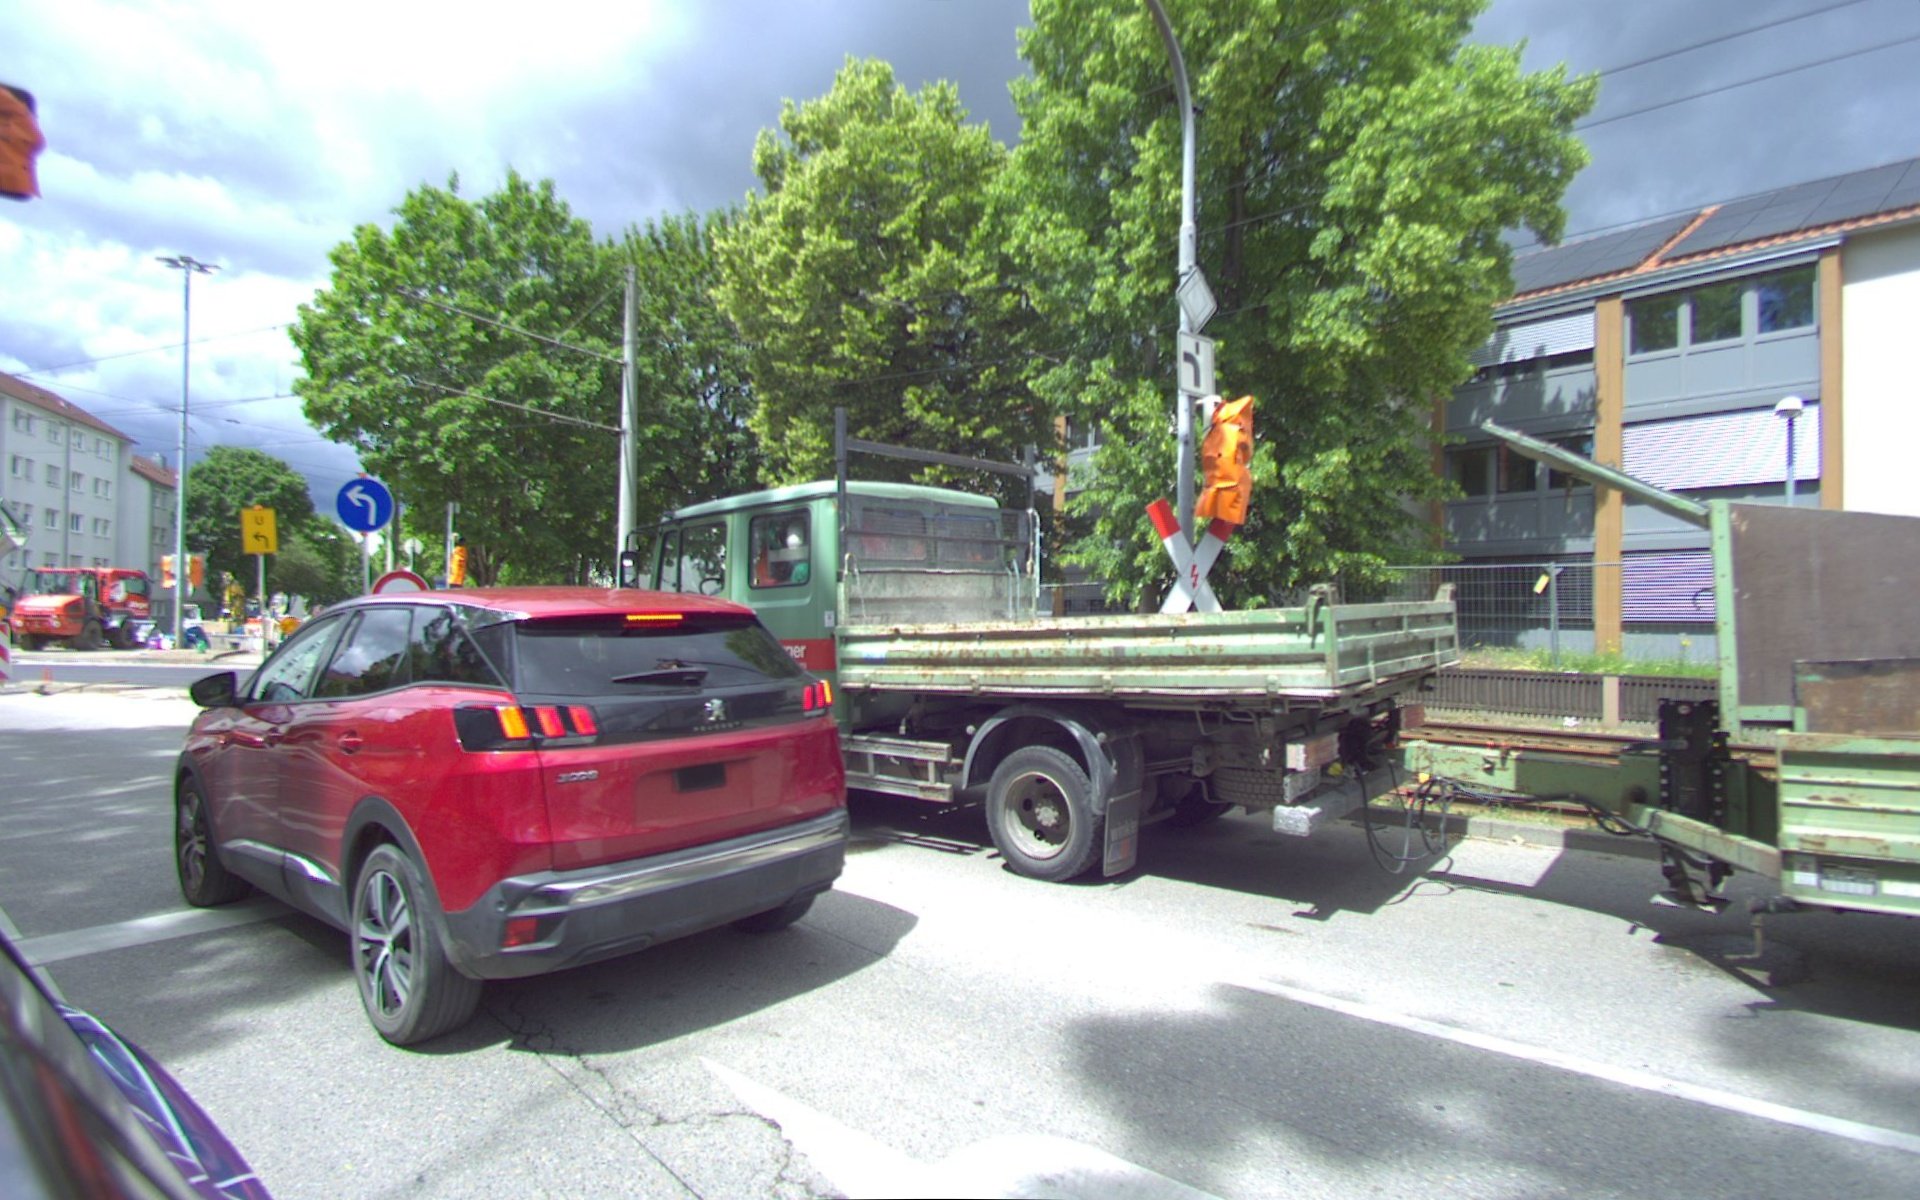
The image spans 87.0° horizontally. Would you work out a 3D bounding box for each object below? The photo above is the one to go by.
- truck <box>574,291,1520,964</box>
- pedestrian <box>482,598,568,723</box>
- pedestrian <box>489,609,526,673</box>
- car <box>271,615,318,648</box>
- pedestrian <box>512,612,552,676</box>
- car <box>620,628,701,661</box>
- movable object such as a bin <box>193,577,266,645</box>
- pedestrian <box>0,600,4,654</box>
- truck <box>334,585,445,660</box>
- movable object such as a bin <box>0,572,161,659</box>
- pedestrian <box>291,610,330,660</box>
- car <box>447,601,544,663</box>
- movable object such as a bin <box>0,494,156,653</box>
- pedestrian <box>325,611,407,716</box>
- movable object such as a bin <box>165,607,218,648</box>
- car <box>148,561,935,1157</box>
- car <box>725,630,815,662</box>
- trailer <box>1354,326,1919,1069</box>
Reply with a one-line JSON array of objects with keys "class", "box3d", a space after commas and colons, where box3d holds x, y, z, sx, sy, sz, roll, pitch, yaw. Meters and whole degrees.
[{"class": "truck", "box3d": [0.101, 0.181, 7.239, 6.392, 2.746, 2.634, -2, -1, 41]}, {"class": "pedestrian", "box3d": [-6.113, 0.832, 14.240, 0.822, 1.680, 0.702, 2, 0, 19]}, {"class": "pedestrian", "box3d": [-11.338, 1.022, 25.360, 0.784, 1.553, 0.765, 1, -2, -27]}, {"class": "car", "box3d": [-42.330, 2.028, 64.483, 1.965, 2.029, 5.927, 1, -3, -28]}, {"class": "pedestrian", "box3d": [-10.520, 1.072, 24.848, 0.827, 1.544, 0.911, 1, -2, -27]}, {"class": "car", "box3d": [-13.495, 2.005, 45.576, 3.150, 1.466, 1.568, 2, -3, -35]}, {"class": "movable object such as a bin", "box3d": [-50.852, 0.864, 70.617, 2.777, 4.570, 6.229, 1, -2, -24]}, {"class": "pedestrian", "box3d": [-32.403, 0.893, 33.725, 0.602, 1.802, 0.583, -1, -1, -18]}, {"class": "truck", "box3d": [-21.303, 0.858, 38.098, 2.378, 2.588, 5.599, 1, -2, -16]}, {"class": "movable object such as a bin", "box3d": [-29.470, 0.515, 33.986, 2.080, 2.689, 5.603, 1, -1, -15]}, {"class": "pedestrian", "box3d": [-21.791, 1.167, 33.987, 0.860, 1.672, 0.931, 0, -1, -16]}, {"class": "car", "box3d": [-15.500, 1.048, 33.628, 1.967, 1.901, 5.263, 1, -2, -35]}, {"class": "movable object such as a bin", "box3d": [-34.729, -0.874, 36.903, 2.787, 5.527, 9.016, 0, -2, 7]}, {"class": "pedestrian", "box3d": [-9.254, 0.967, 15.799, 0.886, 1.563, 0.766, -1, -1, -11]}, {"class": "movable object such as a bin", "box3d": [-47.195, 1.718, 62.233, 1.965, 2.428, 4.012, 1, -3, -29]}, {"class": "car", "box3d": [-2.295, 0.726, 4.871, 4.240, 1.630, 1.823, -1, 0, 42]}, {"class": "car", "box3d": [-9.094, 2.216, 48.499, 3.812, 1.470, 1.782, 2, -3, -36]}, {"class": "trailer", "box3d": [4.838, 0.250, 3.079, 6.244, 2.231, 2.634, -2, -1, 41]}]
